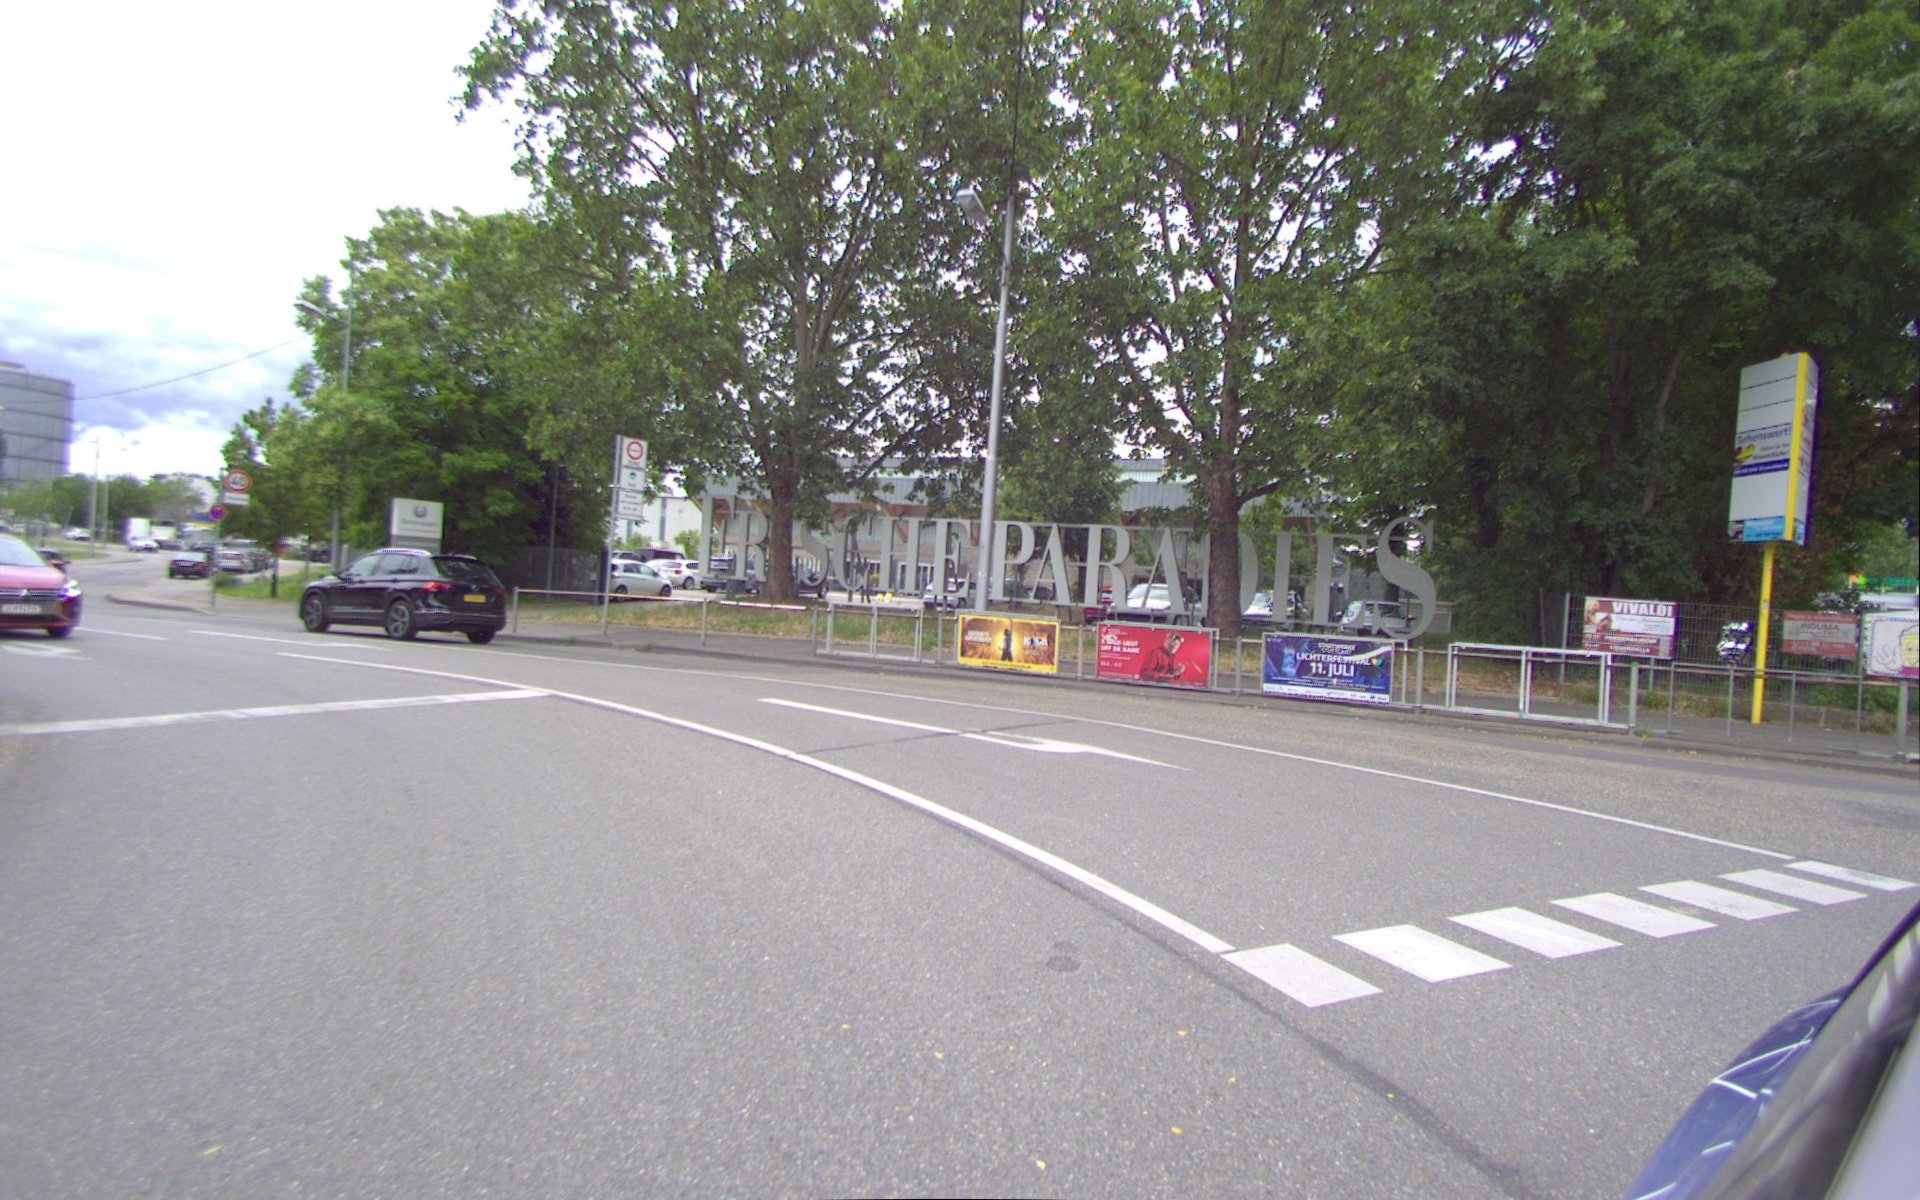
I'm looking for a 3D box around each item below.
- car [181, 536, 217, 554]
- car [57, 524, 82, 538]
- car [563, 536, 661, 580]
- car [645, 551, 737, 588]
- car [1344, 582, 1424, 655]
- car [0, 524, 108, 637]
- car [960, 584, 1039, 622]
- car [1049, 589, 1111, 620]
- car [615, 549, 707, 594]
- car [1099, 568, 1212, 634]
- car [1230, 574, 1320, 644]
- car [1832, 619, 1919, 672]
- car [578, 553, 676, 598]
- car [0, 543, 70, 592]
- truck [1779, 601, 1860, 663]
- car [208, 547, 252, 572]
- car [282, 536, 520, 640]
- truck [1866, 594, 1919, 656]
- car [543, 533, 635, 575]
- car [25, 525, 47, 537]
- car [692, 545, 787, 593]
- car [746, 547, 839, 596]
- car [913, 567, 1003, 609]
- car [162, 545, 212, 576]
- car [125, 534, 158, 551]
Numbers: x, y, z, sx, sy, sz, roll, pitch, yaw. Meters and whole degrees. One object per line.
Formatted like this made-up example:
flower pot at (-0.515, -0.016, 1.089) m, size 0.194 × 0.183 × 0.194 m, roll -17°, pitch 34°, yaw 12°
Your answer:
car at (-75.952, -5.479, 100.925) m, size 3.926 × 1.555 × 2.017 m, roll 4°, pitch 1°, yaw 40°
car at (-119.441, -9.255, 135.747) m, size 3.929 × 1.555 × 2.015 m, roll 4°, pitch -1°, yaw 43°
car at (-19.076, -2.260, 55.693) m, size 1.981 × 2.023 × 5.054 m, roll 4°, pitch 1°, yaw 27°
car at (-13.701, -1.541, 51.795) m, size 1.981 × 1.578 × 4.596 m, roll 4°, pitch 1°, yaw 27°
car at (10.850, 0.484, 25.765) m, size 1.576 × 1.633 × 3.963 m, roll 4°, pitch 0°, yaw 26°
car at (-14.220, -0.357, 14.423) m, size 3.795 × 1.483 × 1.719 m, roll 3°, pitch 1°, yaw 25°
car at (1.947, 0.179, 48.400) m, size 1.981 × 1.581 × 4.596 m, roll 4°, pitch 1°, yaw 27°
car at (6.951, 0.265, 58.190) m, size 1.981 × 1.581 × 4.596 m, roll 4°, pitch 1°, yaw 27°
car at (-15.682, -1.461, 53.337) m, size 1.981 × 2.038 × 4.596 m, roll 4°, pitch 1°, yaw 27°
car at (5.668, 0.079, 28.876) m, size 1.868 × 1.633 × 4.480 m, roll 4°, pitch 0°, yaw 28°
car at (8.478, 0.264, 27.001) m, size 1.576 × 1.633 × 4.277 m, roll 4°, pitch 0°, yaw 26°
car at (55.477, 2.757, 58.605) m, size 7.103 × 2.766 × 2.218 m, roll 5°, pitch 1°, yaw 32°
car at (-12.882, -0.938, 39.360) m, size 1.465 × 1.523 × 3.700 m, roll 4°, pitch 1°, yaw 23°
car at (-32.431, -1.161, 35.160) m, size 3.005 × 1.483 × 1.693 m, roll 5°, pitch 1°, yaw 38°
truck at (64.935, 2.357, 76.682) m, size 2.977 × 4.217 × 9.087 m, roll 4°, pitch 1°, yaw 31°
car at (-45.670, -2.540, 63.363) m, size 1.682 × 1.424 × 3.377 m, roll 4°, pitch 0°, yaw -27°
car at (-10.478, -0.235, 18.952) m, size 4.146 × 1.656 × 1.832 m, roll 3°, pitch -1°, yaw 27°
truck at (64.110, 1.770, 66.809) m, size 2.829 × 3.982 × 15.561 m, roll 5°, pitch 1°, yaw 29°
car at (-21.209, -2.587, 58.043) m, size 1.981 × 2.038 × 4.778 m, roll 4°, pitch 1°, yaw 27°
car at (-137.674, -10.282, 150.719) m, size 3.929 × 1.555 × 2.015 m, roll 4°, pitch -1°, yaw 43°
car at (-10.743, -1.474, 49.654) m, size 1.981 × 2.038 × 4.596 m, roll 4°, pitch 1°, yaw 27°
car at (-7.923, -1.336, 48.423) m, size 1.981 × 2.038 × 4.596 m, roll 4°, pitch 1°, yaw 27°
car at (-0.024, -0.502, 44.108) m, size 1.981 × 1.581 × 4.596 m, roll 4°, pitch 1°, yaw 27°
car at (-41.566, -2.131, 54.449) m, size 1.683 × 1.508 × 3.375 m, roll 4°, pitch 0°, yaw -31°
car at (-84.431, -5.950, 104.438) m, size 3.927 × 1.554 × 2.018 m, roll 5°, pitch 4°, yaw 41°
